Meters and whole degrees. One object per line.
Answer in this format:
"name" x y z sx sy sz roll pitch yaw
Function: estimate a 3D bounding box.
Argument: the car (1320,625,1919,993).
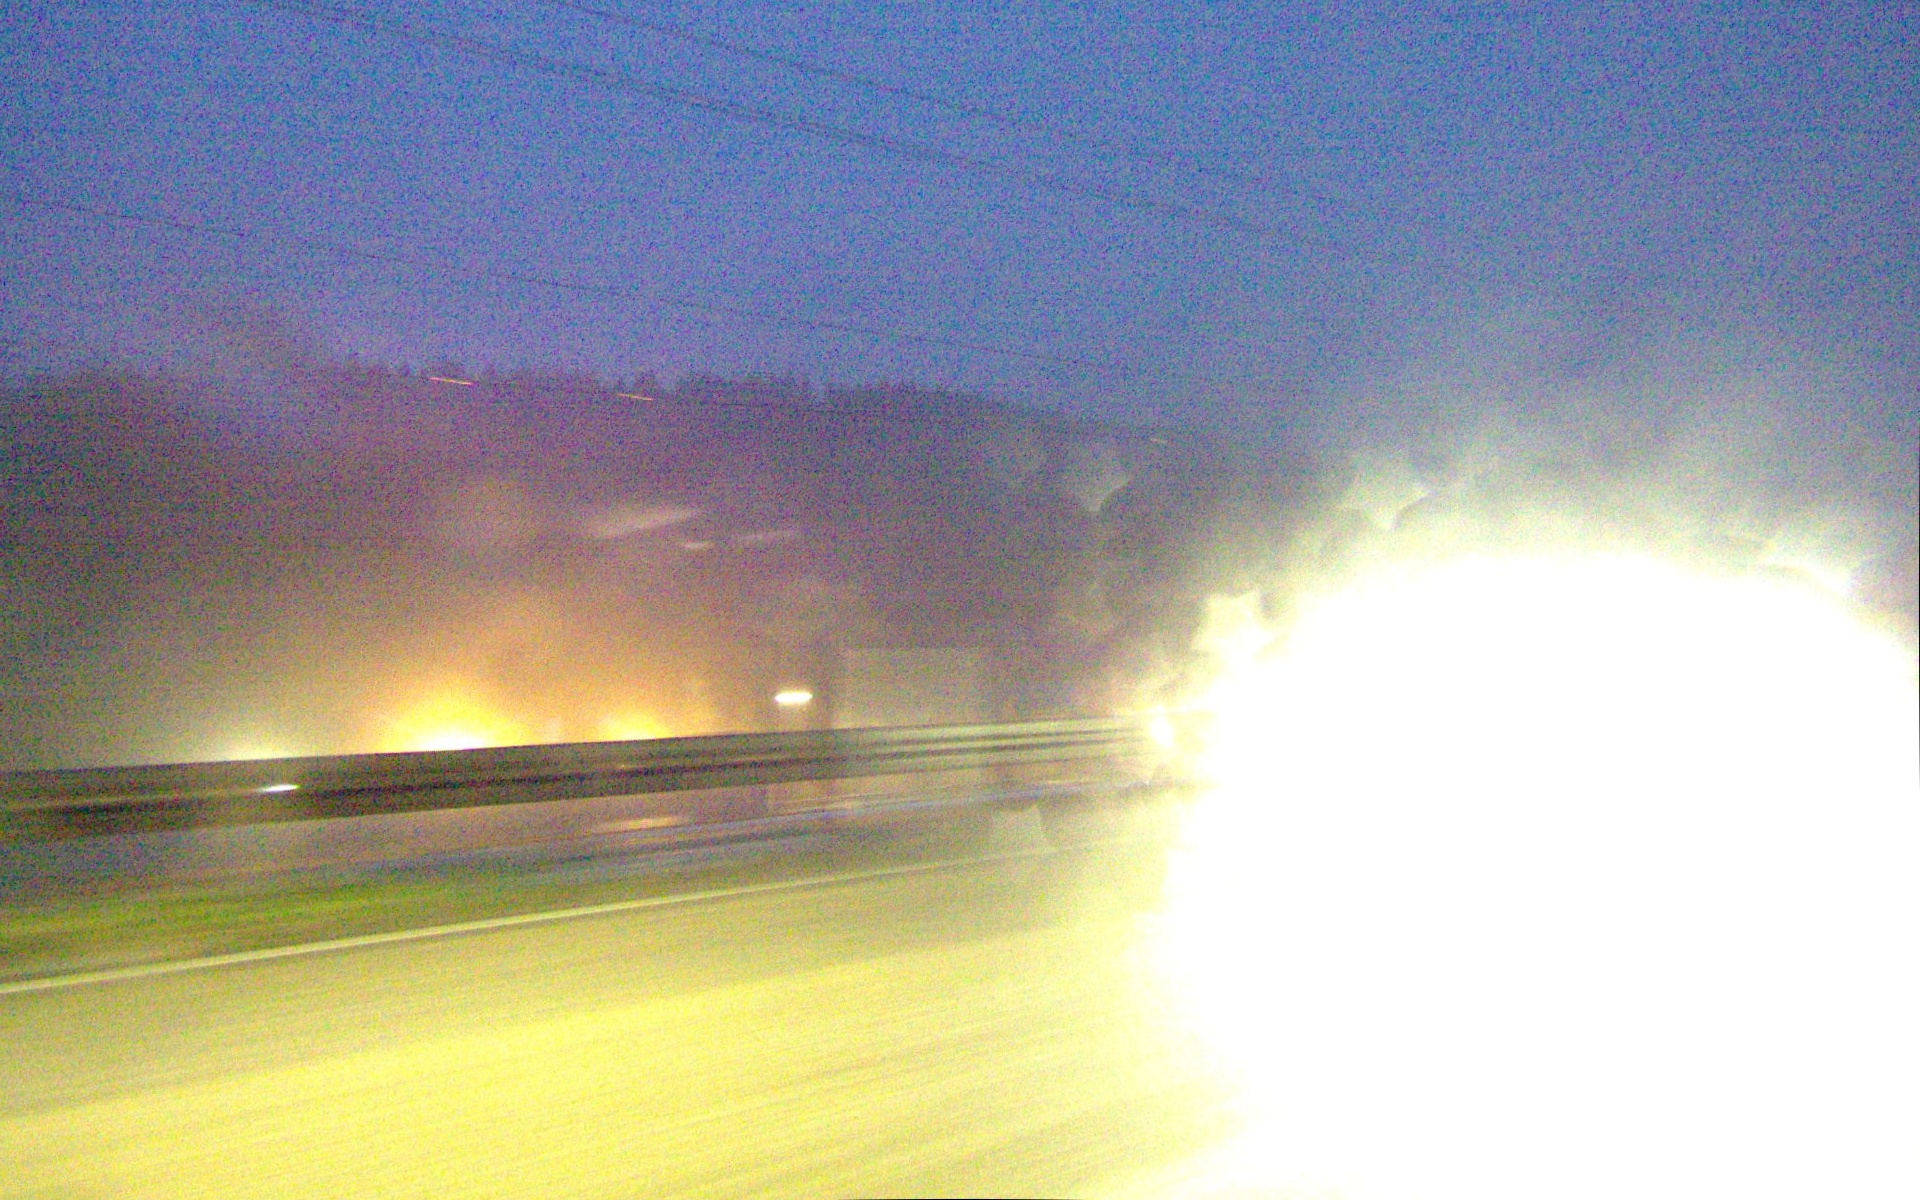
"car" 4.280 0.924 5.922 3.953 1.430 1.984 2 -1 -30
